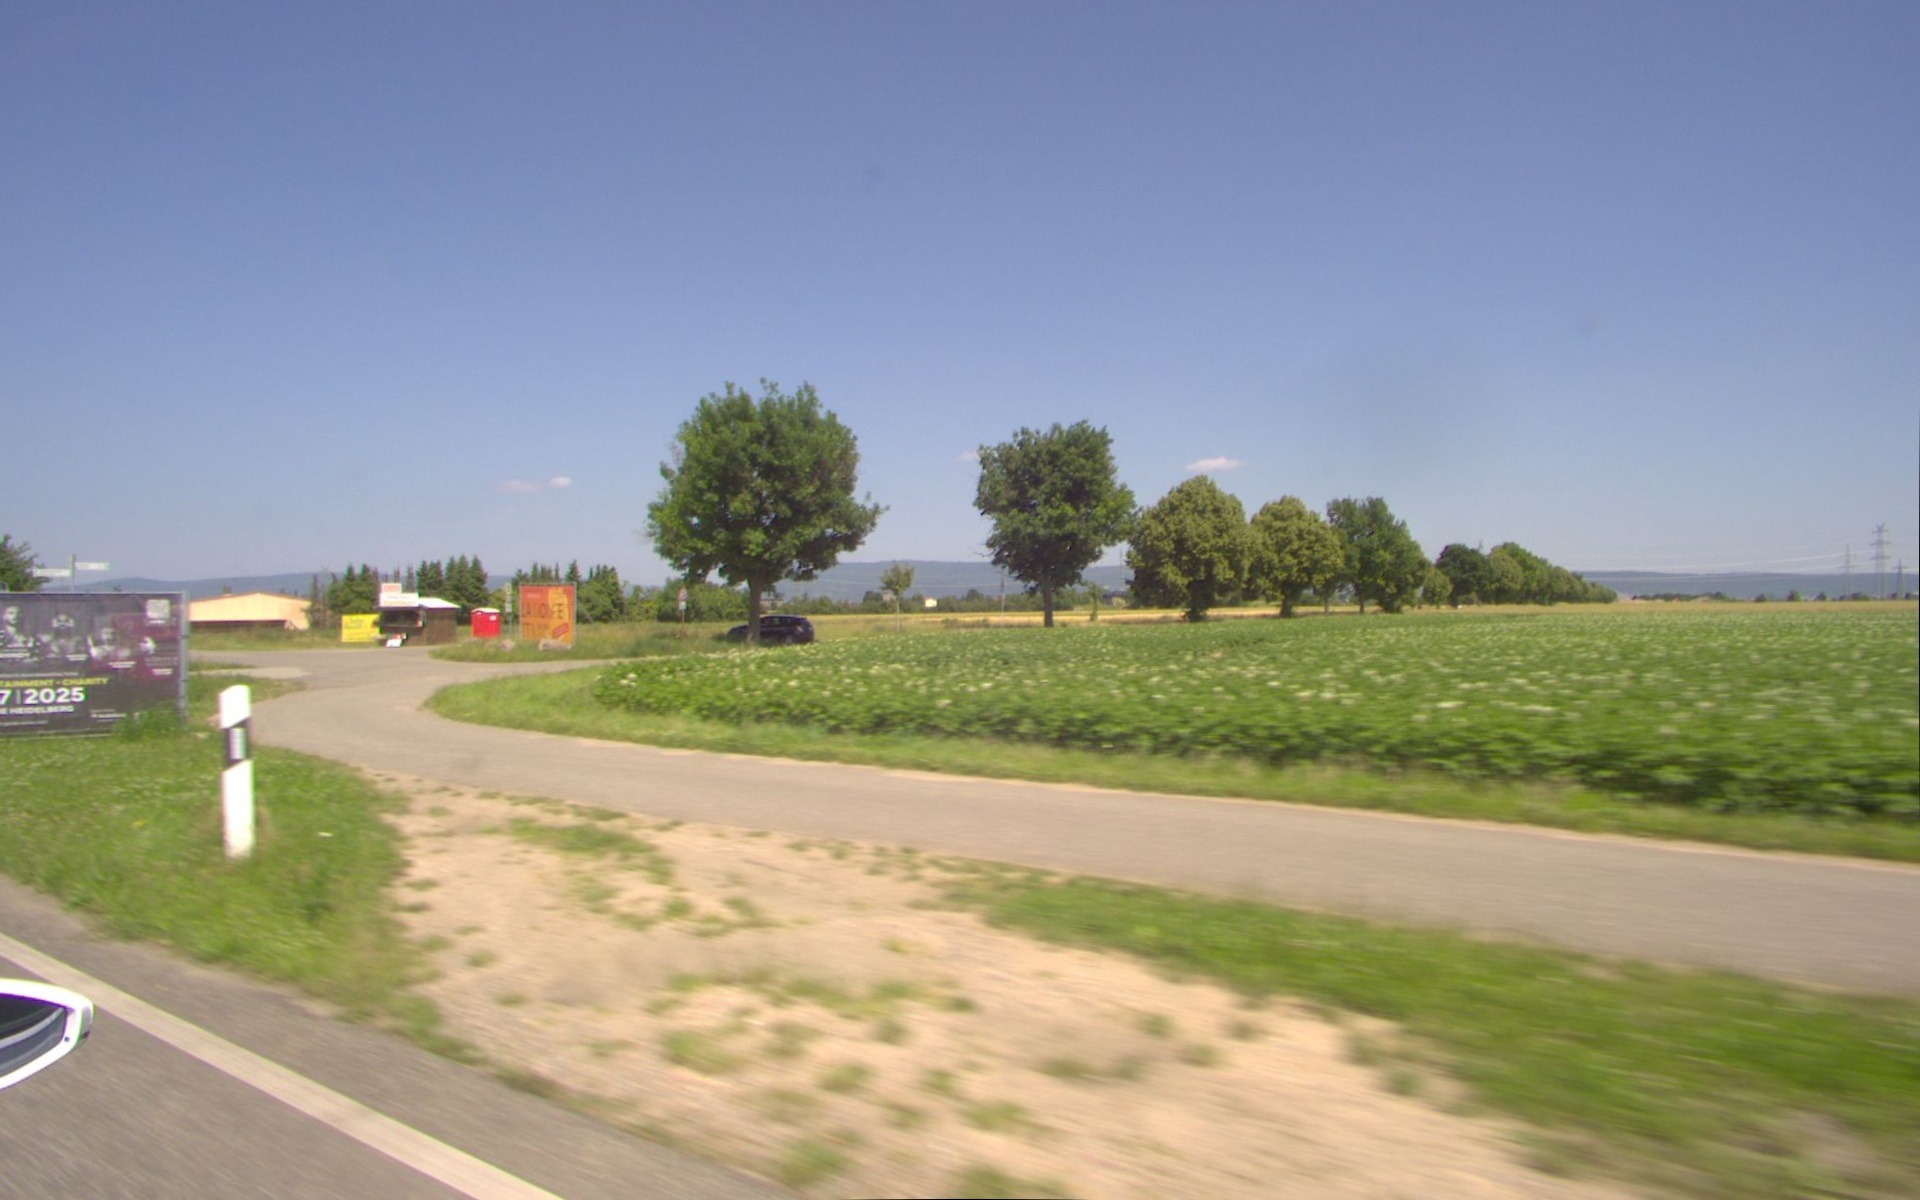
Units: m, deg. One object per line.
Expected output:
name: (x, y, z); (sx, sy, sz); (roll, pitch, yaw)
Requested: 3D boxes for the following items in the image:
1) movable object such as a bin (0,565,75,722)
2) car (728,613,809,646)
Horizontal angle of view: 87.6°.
movable object such as a bin: (-16.068, 0.733, 16.931); (1.510, 2.392, 4.388); (1, -2, -40)
car: (-9.314, 1.398, 48.636); (3.832, 1.547, 1.751); (-1, -1, 36)
